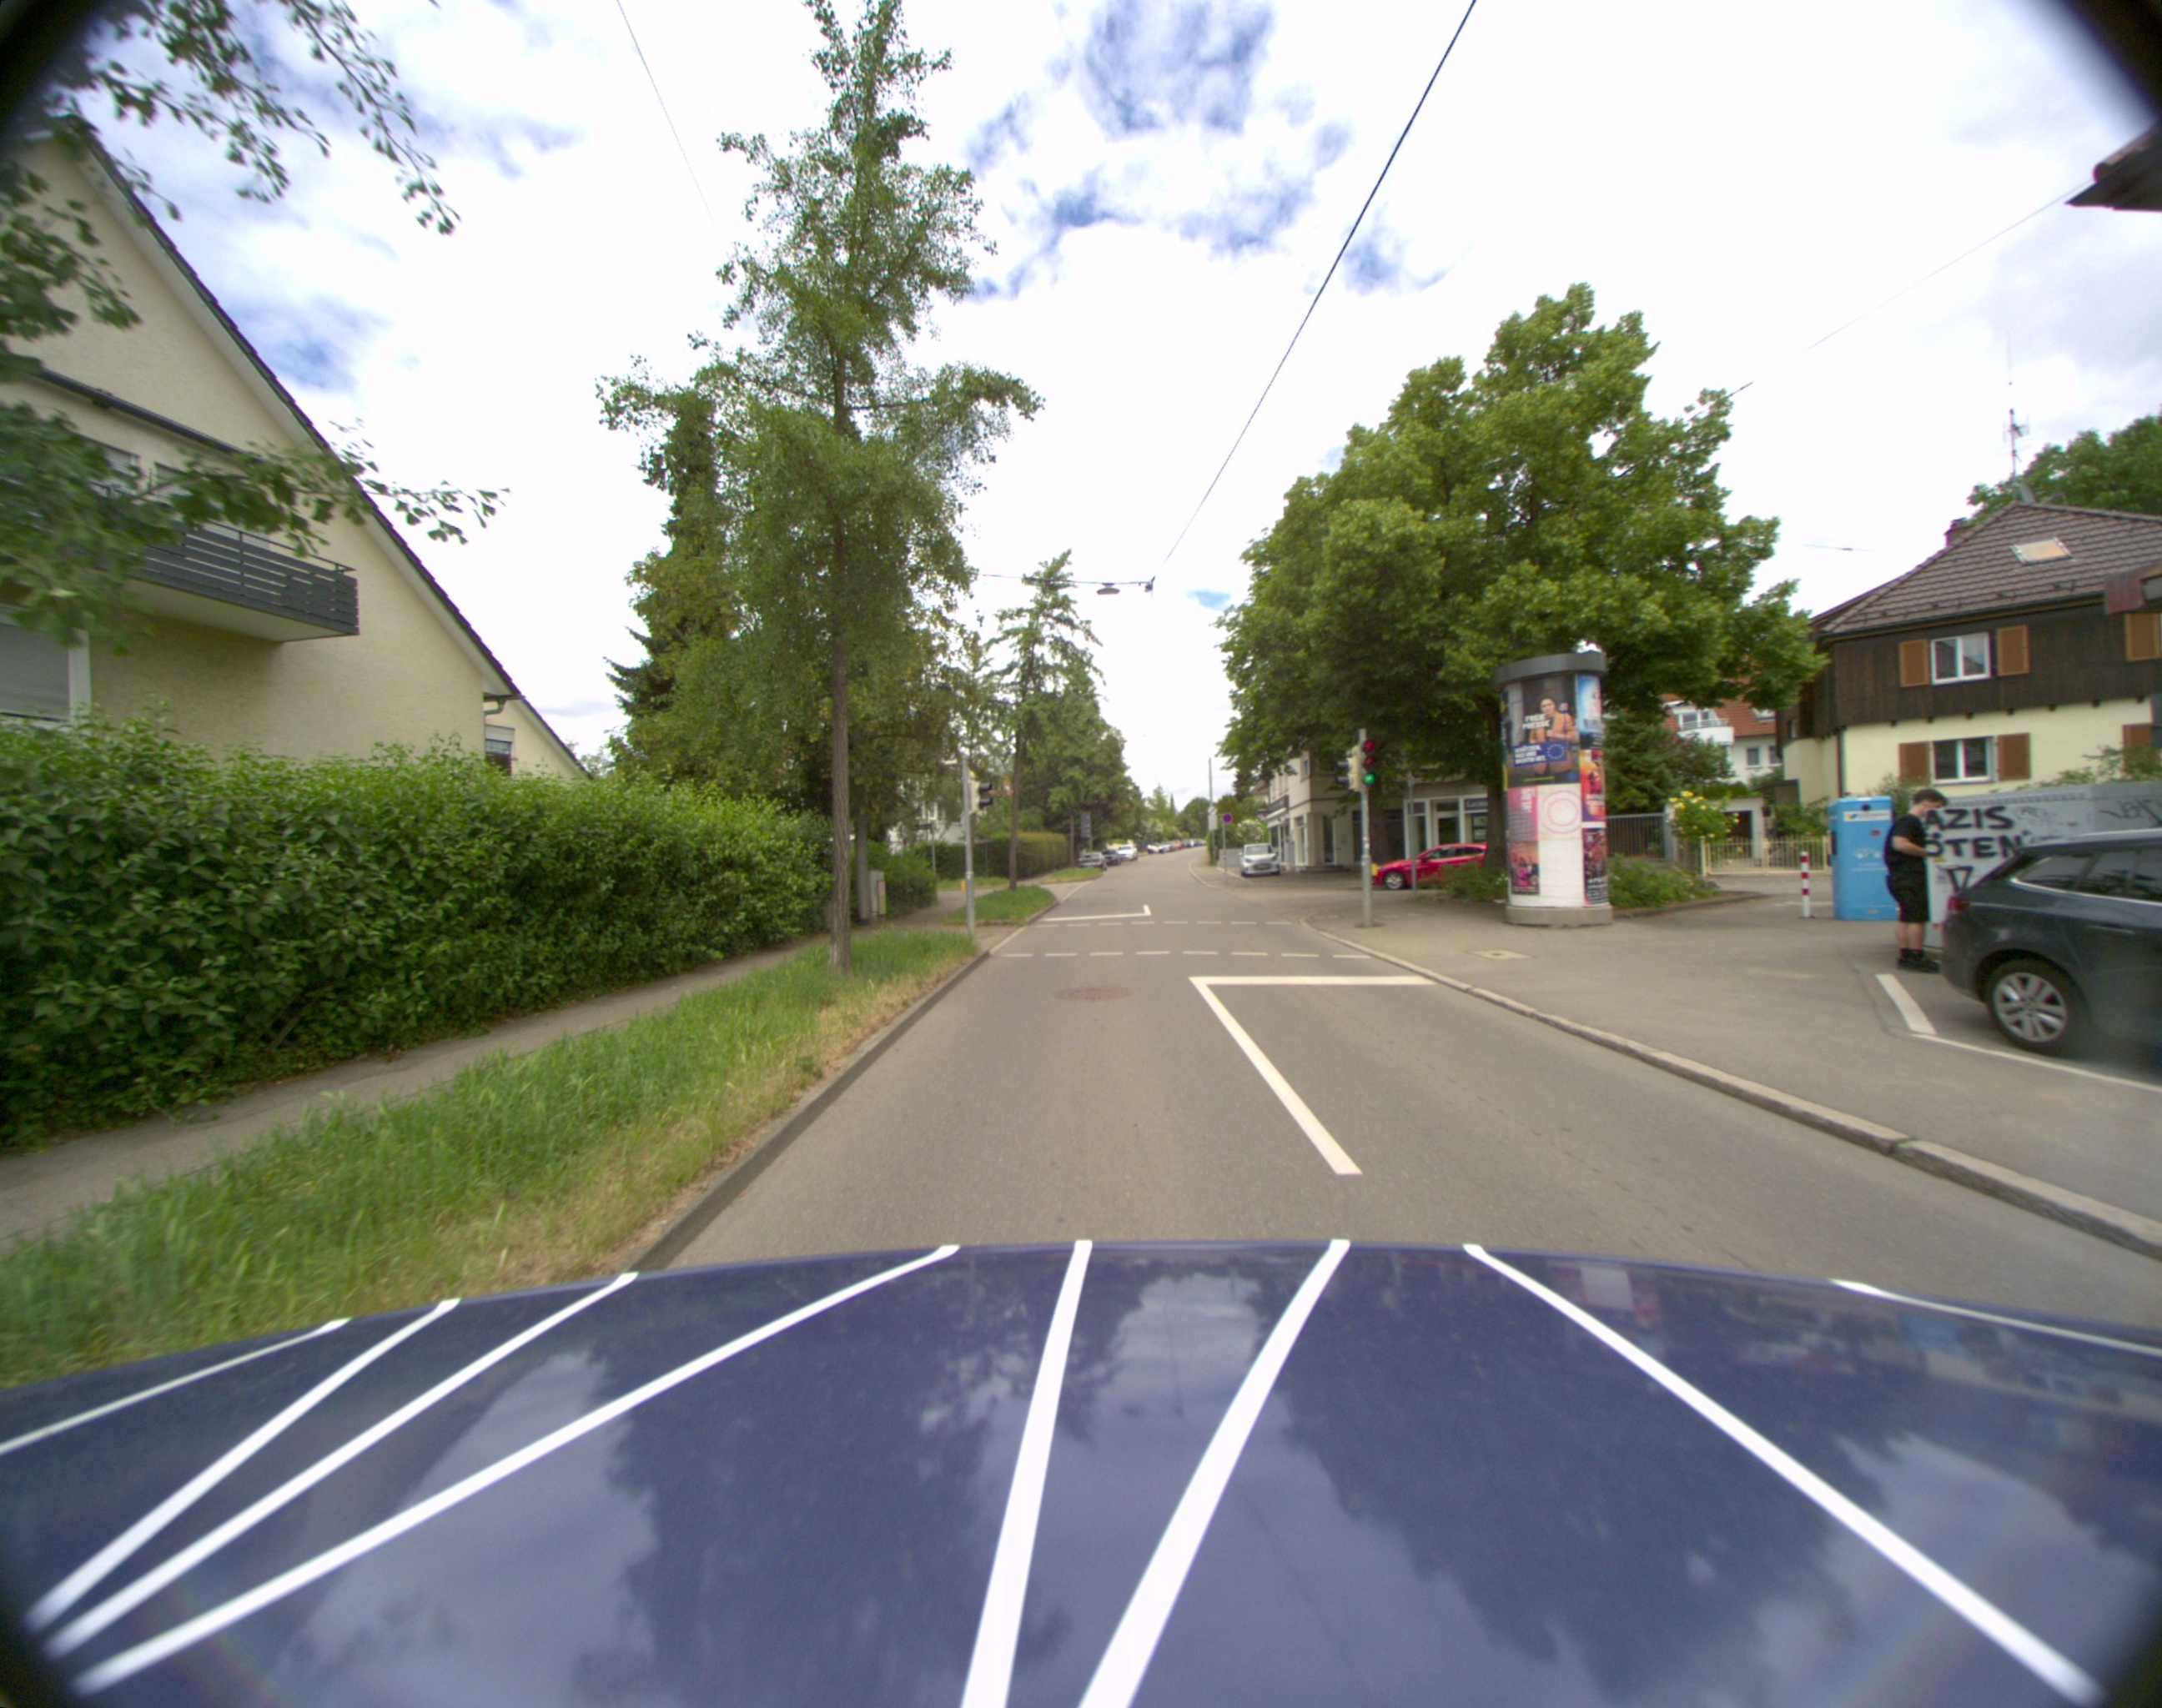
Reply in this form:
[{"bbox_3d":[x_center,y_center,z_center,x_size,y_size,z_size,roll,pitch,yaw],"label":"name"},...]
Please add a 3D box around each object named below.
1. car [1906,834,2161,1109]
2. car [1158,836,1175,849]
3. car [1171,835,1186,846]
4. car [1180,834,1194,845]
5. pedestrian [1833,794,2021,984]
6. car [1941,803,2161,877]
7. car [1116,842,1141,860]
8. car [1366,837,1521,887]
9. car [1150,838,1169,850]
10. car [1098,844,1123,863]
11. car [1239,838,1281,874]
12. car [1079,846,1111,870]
[{"bbox_3d":[6.729,0.659,3.347,1.782,1.433,4.528,-4,0,11],"label":"car"},{"bbox_3d":[12.567,-1.673,111.036,1.832,1.614,4.495,-3,2,14],"label":"car"},{"bbox_3d":[15.907,-2.231,123.415,1.853,1.617,4.172,-4,1,13],"label":"car"},{"bbox_3d":[19.039,-2.601,136.366,1.953,1.617,4.379,-4,1,12],"label":"car"},{"bbox_3d":[8.158,0.336,7.382,0.888,1.708,0.762,-4,0,17],"label":"pedestrian"},{"bbox_3d":[22.489,-0.286,16.983,3.968,1.481,1.835,-3,-1,35],"label":"car"},{"bbox_3d":[4.834,-0.332,76.957,1.868,1.676,4.353,-3,2,12],"label":"car"},{"bbox_3d":[11.528,0.290,24.225,4.222,1.423,1.820,-2,-2,33],"label":"car"},{"bbox_3d":[10.648,-1.294,102.939,2.290,1.515,1.319,-2,1,19],"label":"car"},{"bbox_3d":[2.603,-0.088,66.149,1.713,1.479,3.792,-3,2,9],"label":"car"},{"bbox_3d":[8.533,0.057,36.455,1.592,1.529,2.924,-5,1,8],"label":"car"},{"bbox_3d":[1.047,0.262,55.151,1.713,1.404,3.791,-4,1,8],"label":"car"}]
